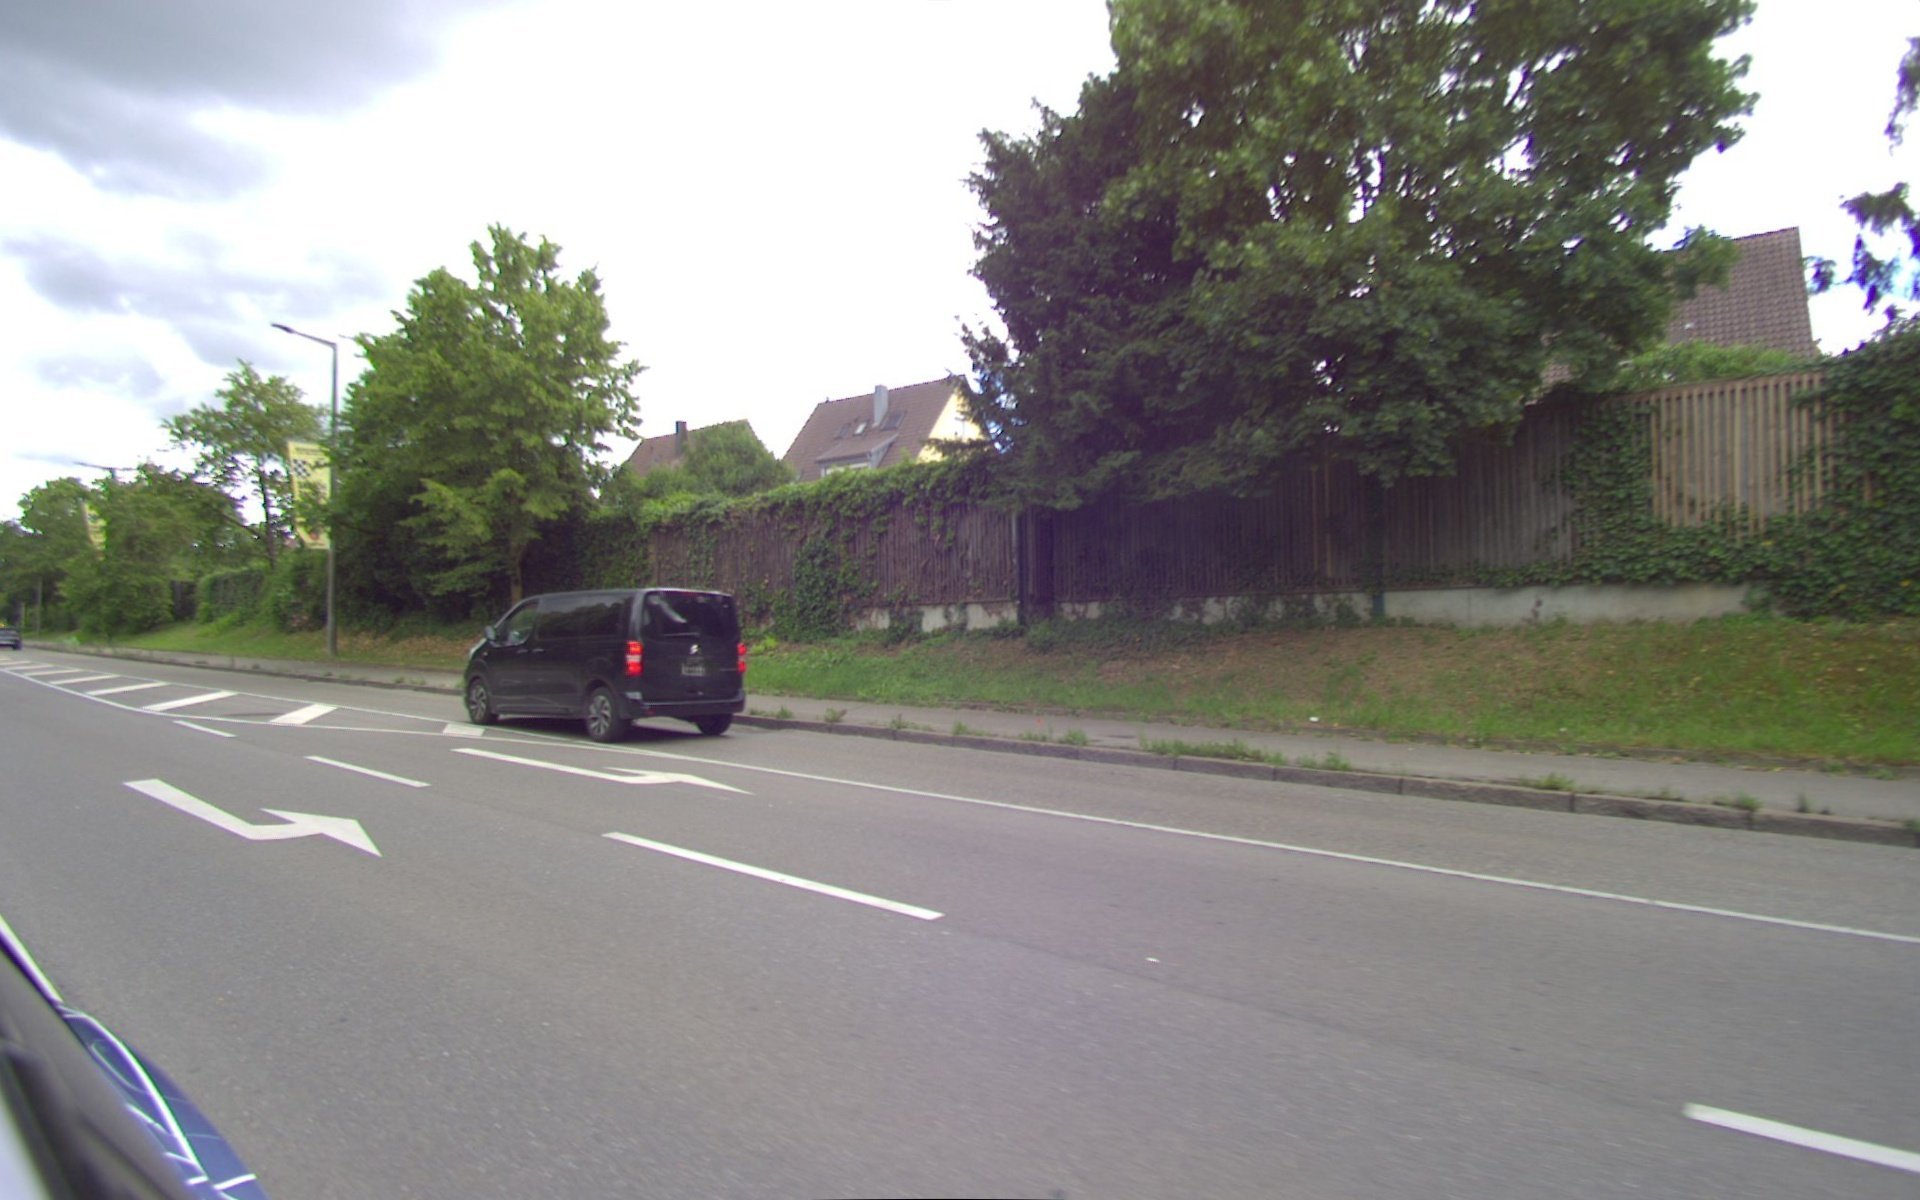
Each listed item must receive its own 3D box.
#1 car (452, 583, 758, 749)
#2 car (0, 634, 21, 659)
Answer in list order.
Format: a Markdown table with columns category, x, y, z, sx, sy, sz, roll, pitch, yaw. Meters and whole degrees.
| category | x | y | z | sx | sy | sz | roll | pitch | yaw |
| --- | --- | --- | --- | --- | --- | --- | --- | --- | --- |
| car | -4.975 | 0.836 | 13.854 | 4.684 | 1.919 | 1.785 | -2 | -3 | 40 |
| car | -58.415 | 2.788 | 61.432 | 4.007 | 1.433 | 1.636 | -1 | -3 | 42 |
